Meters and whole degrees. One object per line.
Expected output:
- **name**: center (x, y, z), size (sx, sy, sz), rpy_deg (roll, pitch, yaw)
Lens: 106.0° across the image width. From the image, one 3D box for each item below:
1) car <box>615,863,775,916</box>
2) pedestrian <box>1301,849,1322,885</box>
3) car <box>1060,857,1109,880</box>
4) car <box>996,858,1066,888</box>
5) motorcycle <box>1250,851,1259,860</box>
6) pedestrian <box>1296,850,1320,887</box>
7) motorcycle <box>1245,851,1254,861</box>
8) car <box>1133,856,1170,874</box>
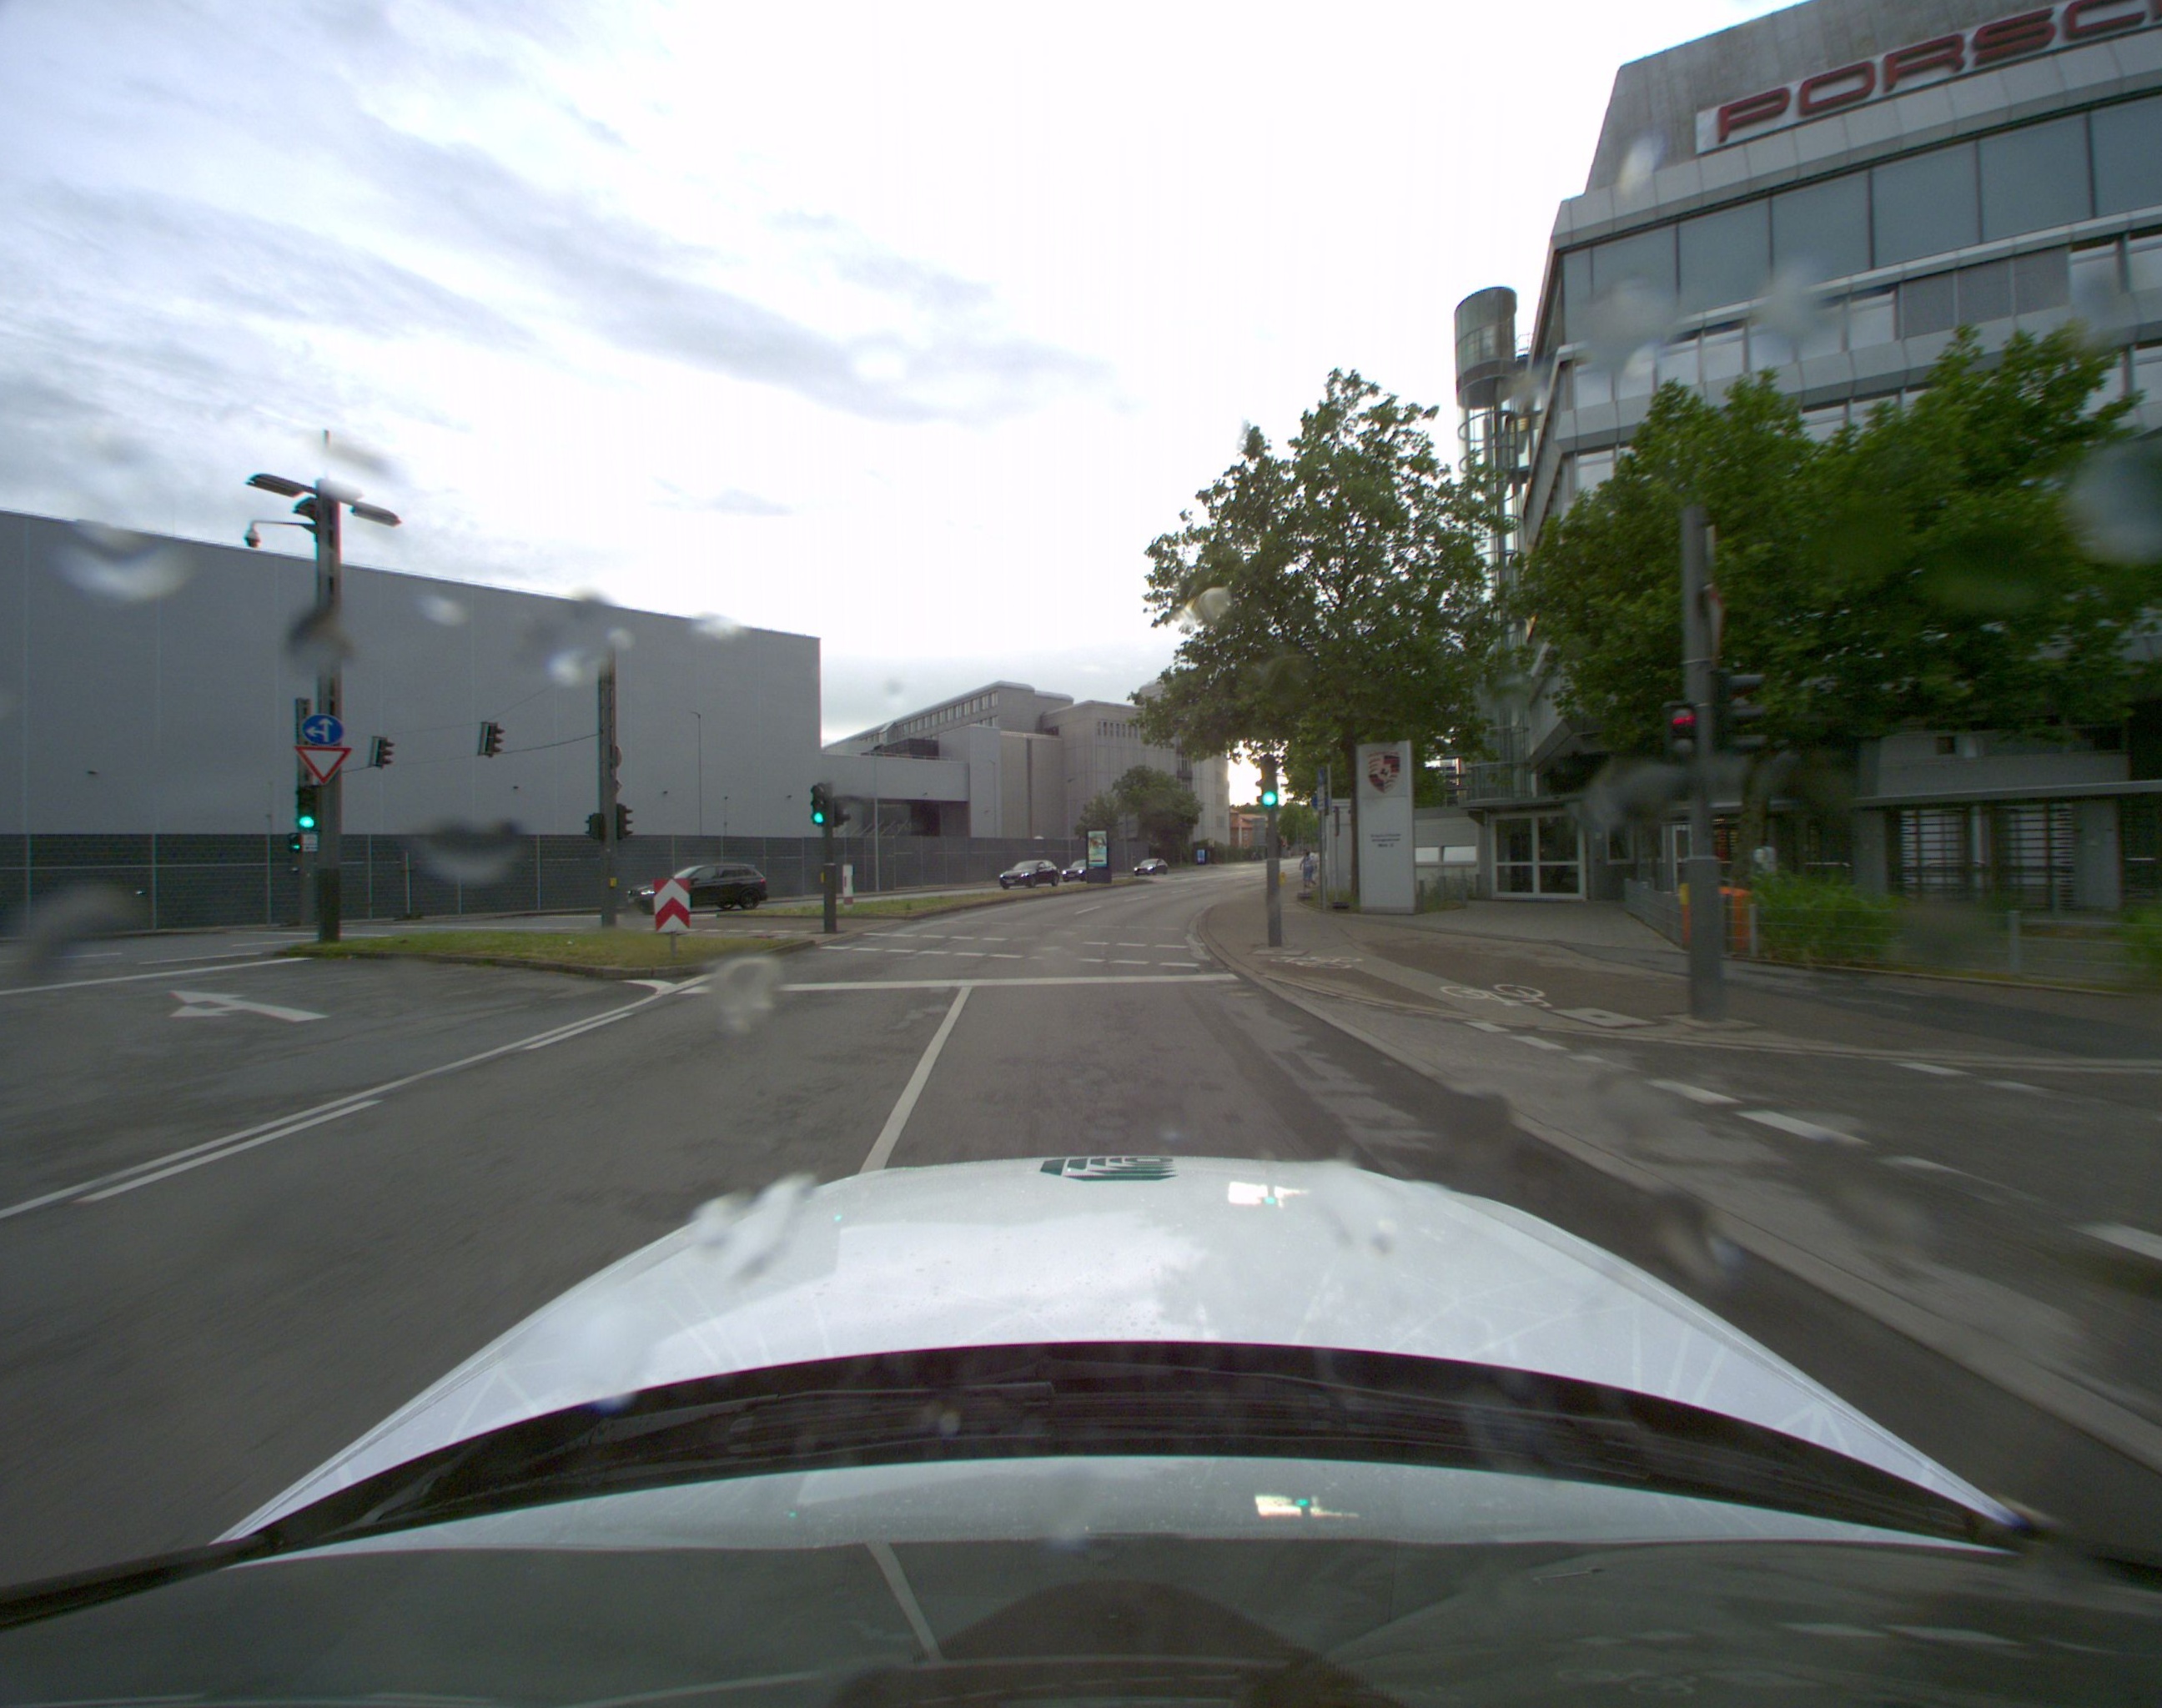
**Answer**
- **car**: center (-13.007, 1.139, 27.687), size (1.765, 1.588, 4.595), rpy_deg (-1, 0, 38)
- **pedestrian**: center (10.320, 0.562, 36.422), size (0.702, 1.592, 0.846), rpy_deg (-2, -1, 28)
- **car**: center (0.308, 1.029, 58.924), size (1.766, 1.454, 4.587), rpy_deg (-3, -1, 25)
- **car**: center (-2.641, 0.999, 43.873), size (1.766, 1.440, 4.422), rpy_deg (-1, 0, 27)
- **motorcycle**: center (30.198, 0.259, 141.694), size (0.950, 1.556, 3.317), rpy_deg (-2, 0, 21)
- **pedestrian**: center (9.605, 0.620, 34.419), size (0.823, 1.520, 0.846), rpy_deg (-1, -1, 26)
- **motorcycle**: center (28.456, 0.310, 137.191), size (0.905, 1.532, 3.317), rpy_deg (-2, 0, 21)
- **car**: center (6.178, 0.903, 70.905), size (1.767, 1.385, 4.571), rpy_deg (-4, -1, 23)
